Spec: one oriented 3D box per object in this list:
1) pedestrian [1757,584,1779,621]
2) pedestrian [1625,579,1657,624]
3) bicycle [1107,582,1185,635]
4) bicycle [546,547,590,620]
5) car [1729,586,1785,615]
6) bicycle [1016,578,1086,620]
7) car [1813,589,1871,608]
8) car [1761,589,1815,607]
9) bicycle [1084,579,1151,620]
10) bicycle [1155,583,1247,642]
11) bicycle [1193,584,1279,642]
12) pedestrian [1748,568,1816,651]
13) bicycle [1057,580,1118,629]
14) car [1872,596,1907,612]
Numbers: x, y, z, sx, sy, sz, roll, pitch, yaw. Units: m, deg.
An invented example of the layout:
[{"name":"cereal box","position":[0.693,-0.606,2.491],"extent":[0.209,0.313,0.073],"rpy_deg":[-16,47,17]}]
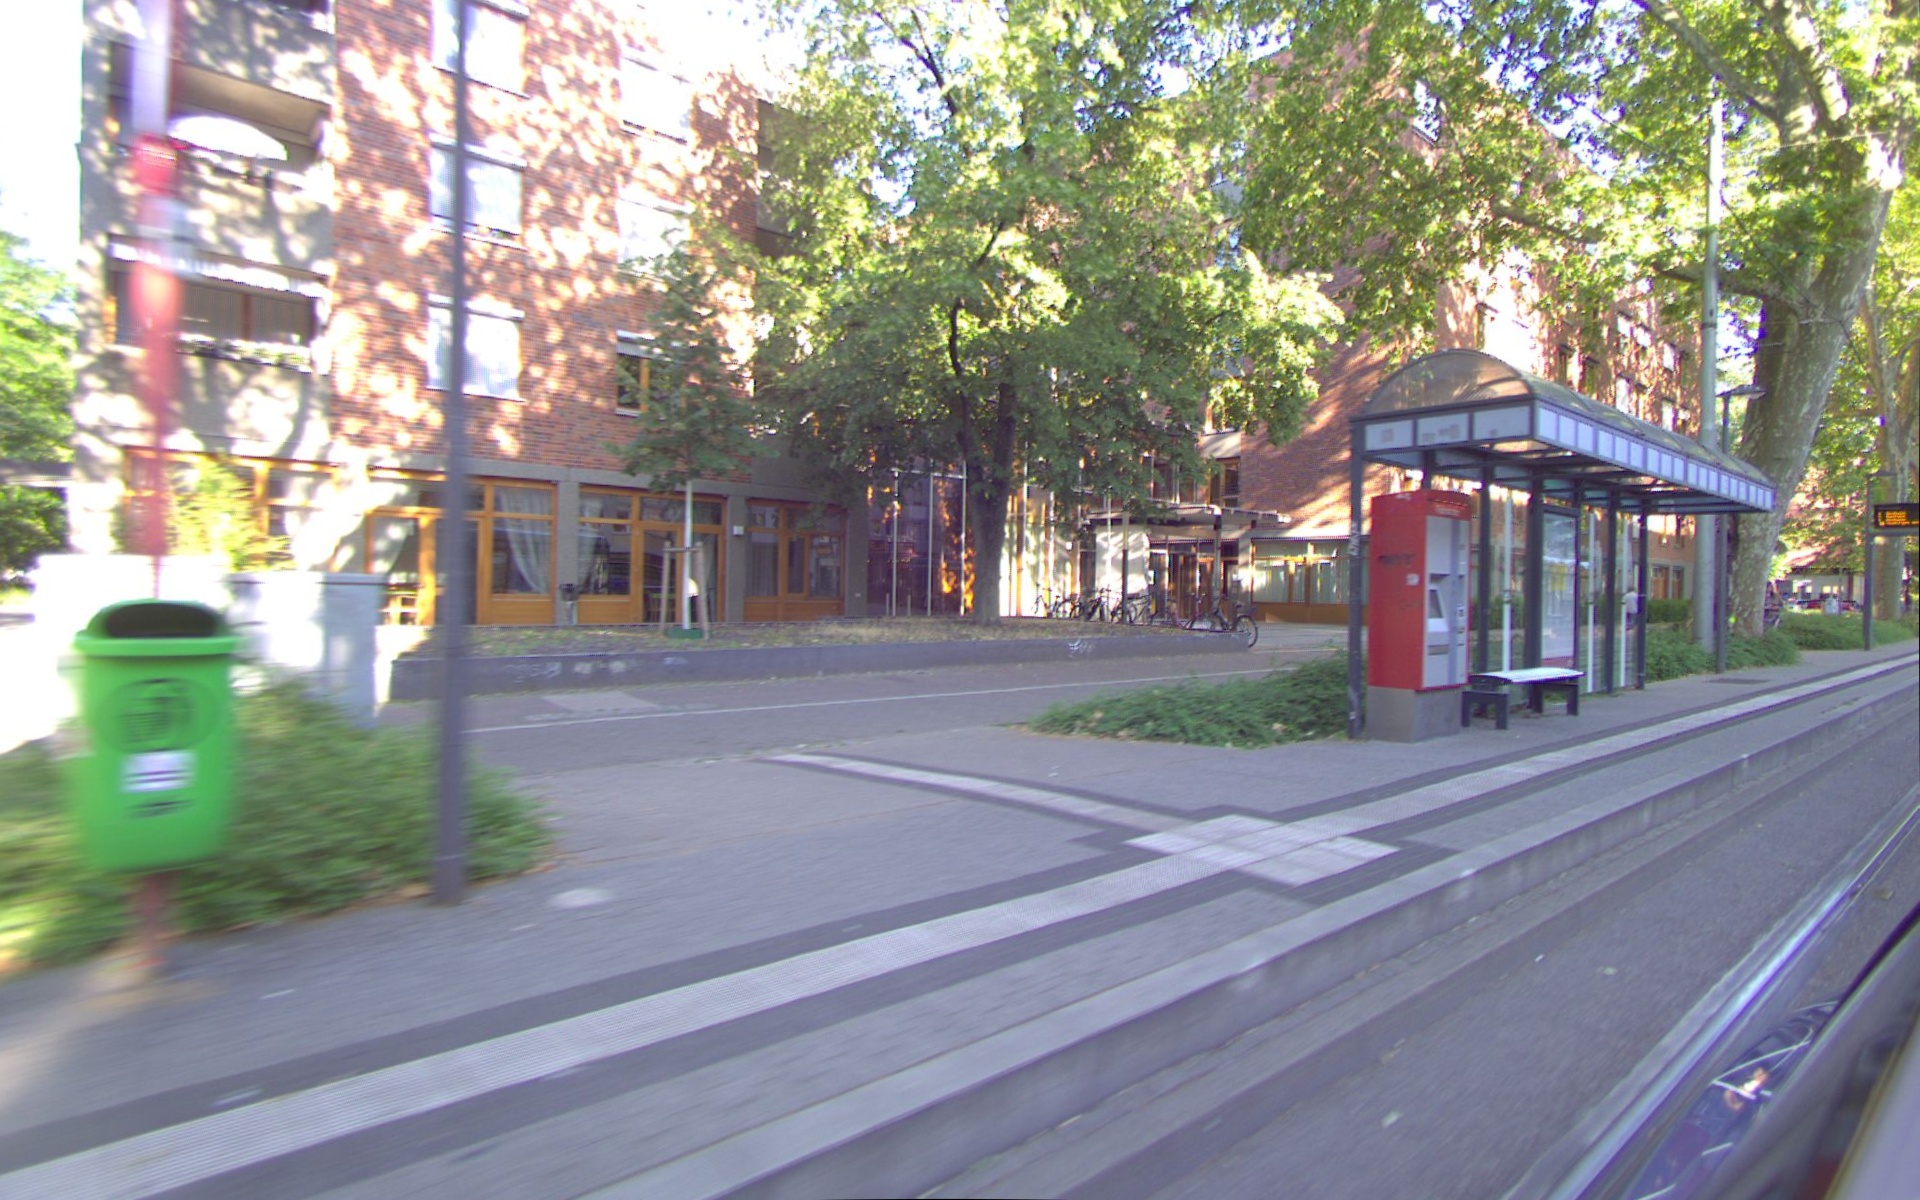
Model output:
[{"name":"pedestrian","position":[38.506,0.108,48.224],"extent":[0.736,1.712,0.710],"rpy_deg":[0,1,-42]},{"name":"pedestrian","position":[25.805,0.062,38.337],"extent":[0.901,1.680,0.768],"rpy_deg":[0,1,-41]},{"name":"bicycle","position":[4.538,0.182,24.794],"extent":[0.561,1.171,2.038],"rpy_deg":[0,3,-35]},{"name":"bicycle","position":[-6.787,-0.313,17.483],"extent":[0.560,1.171,1.939],"rpy_deg":[1,3,-25]},{"name":"car","position":[43.358,0.010,55.032],"extent":[3.892,1.527,1.657],"rpy_deg":[0,1,-41]},{"name":"bicycle","position":[2.707,-0.030,30.069],"extent":[1.997,1.171,0.709],"rpy_deg":[0,2,-32]},{"name":"car","position":[80.641,-0.152,92.541],"extent":[1.964,1.549,3.674],"rpy_deg":[0,2,-39]},{"name":"car","position":[78.146,-0.177,95.545],"extent":[1.964,1.549,3.674],"rpy_deg":[0,2,-39]},{"name":"bicycle","position":[4.939,-0.042,31.782],"extent":[1.929,1.171,0.727],"rpy_deg":[3,2,24]},{"name":"bicycle","position":[5.358,0.261,22.587],"extent":[0.562,1.171,2.036],"rpy_deg":[0,3,-40]},{"name":"bicycle","position":[6.219,0.265,22.905],"extent":[0.561,1.171,2.041],"rpy_deg":[1,3,-30]},{"name":"pedestrian","position":[17.334,0.185,21.352],"extent":[0.758,1.680,0.913],"rpy_deg":[1,1,15]},{"name":"bicycle","position":[3.306,0.091,26.327],"extent":[0.561,1.171,1.684],"rpy_deg":[0,3,-35]},{"name":"car","position":[92.732,0.367,100.952],"extent":[3.611,1.549,1.999],"rpy_deg":[0,1,-38]}]
